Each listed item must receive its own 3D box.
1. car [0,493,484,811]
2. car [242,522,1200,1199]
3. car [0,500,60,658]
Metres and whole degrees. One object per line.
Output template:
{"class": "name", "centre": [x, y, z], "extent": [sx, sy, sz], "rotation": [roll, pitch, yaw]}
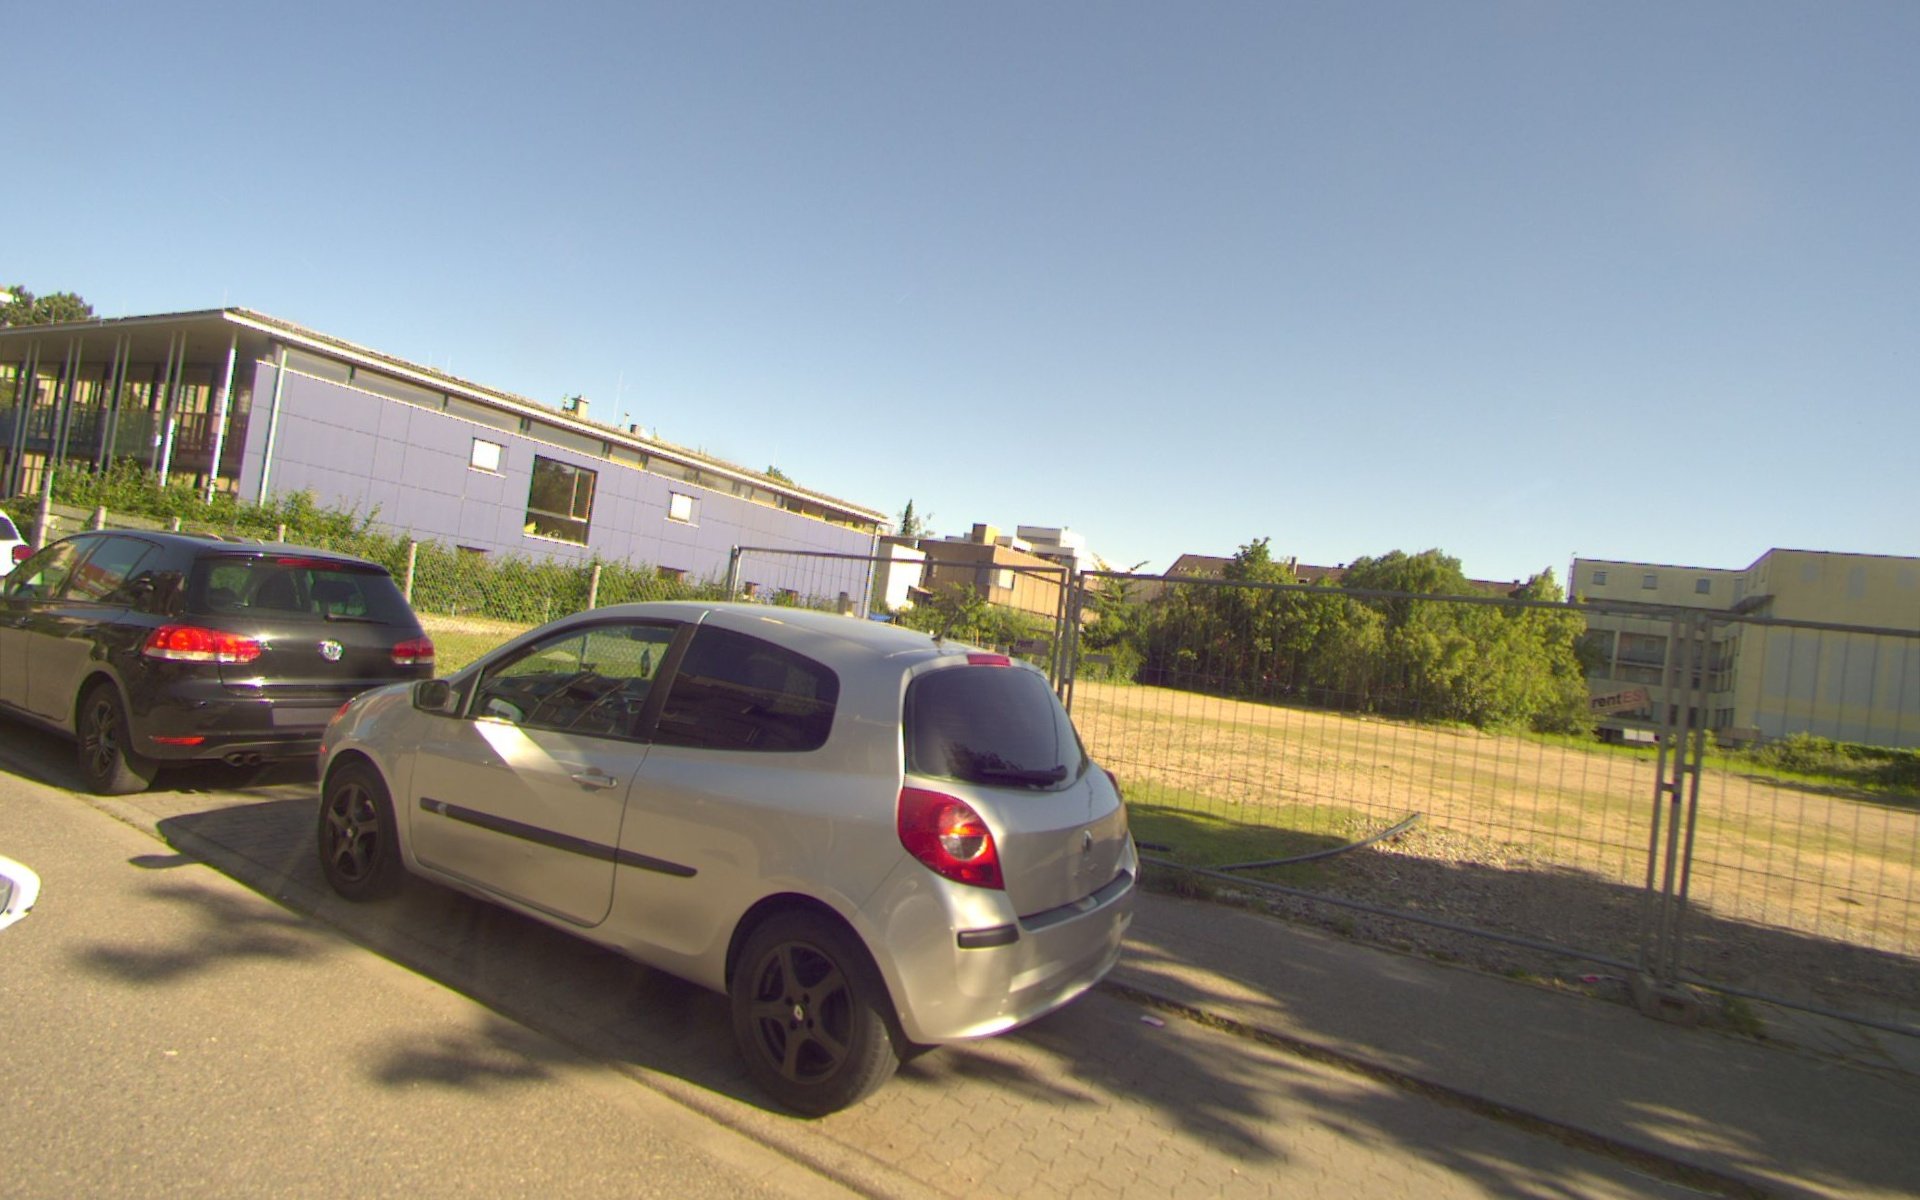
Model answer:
{"class": "car", "centre": [-5.307, 0.213, 6.805], "extent": [4.010, 1.511, 1.691], "rotation": [6, -2, 31]}
{"class": "car", "centre": [-1.208, 0.714, 4.435], "extent": [3.933, 1.530, 1.666], "rotation": [8, -1, 32]}
{"class": "car", "centre": [-11.647, -0.476, 10.885], "extent": [3.784, 1.560, 1.684], "rotation": [8, -1, 31]}
